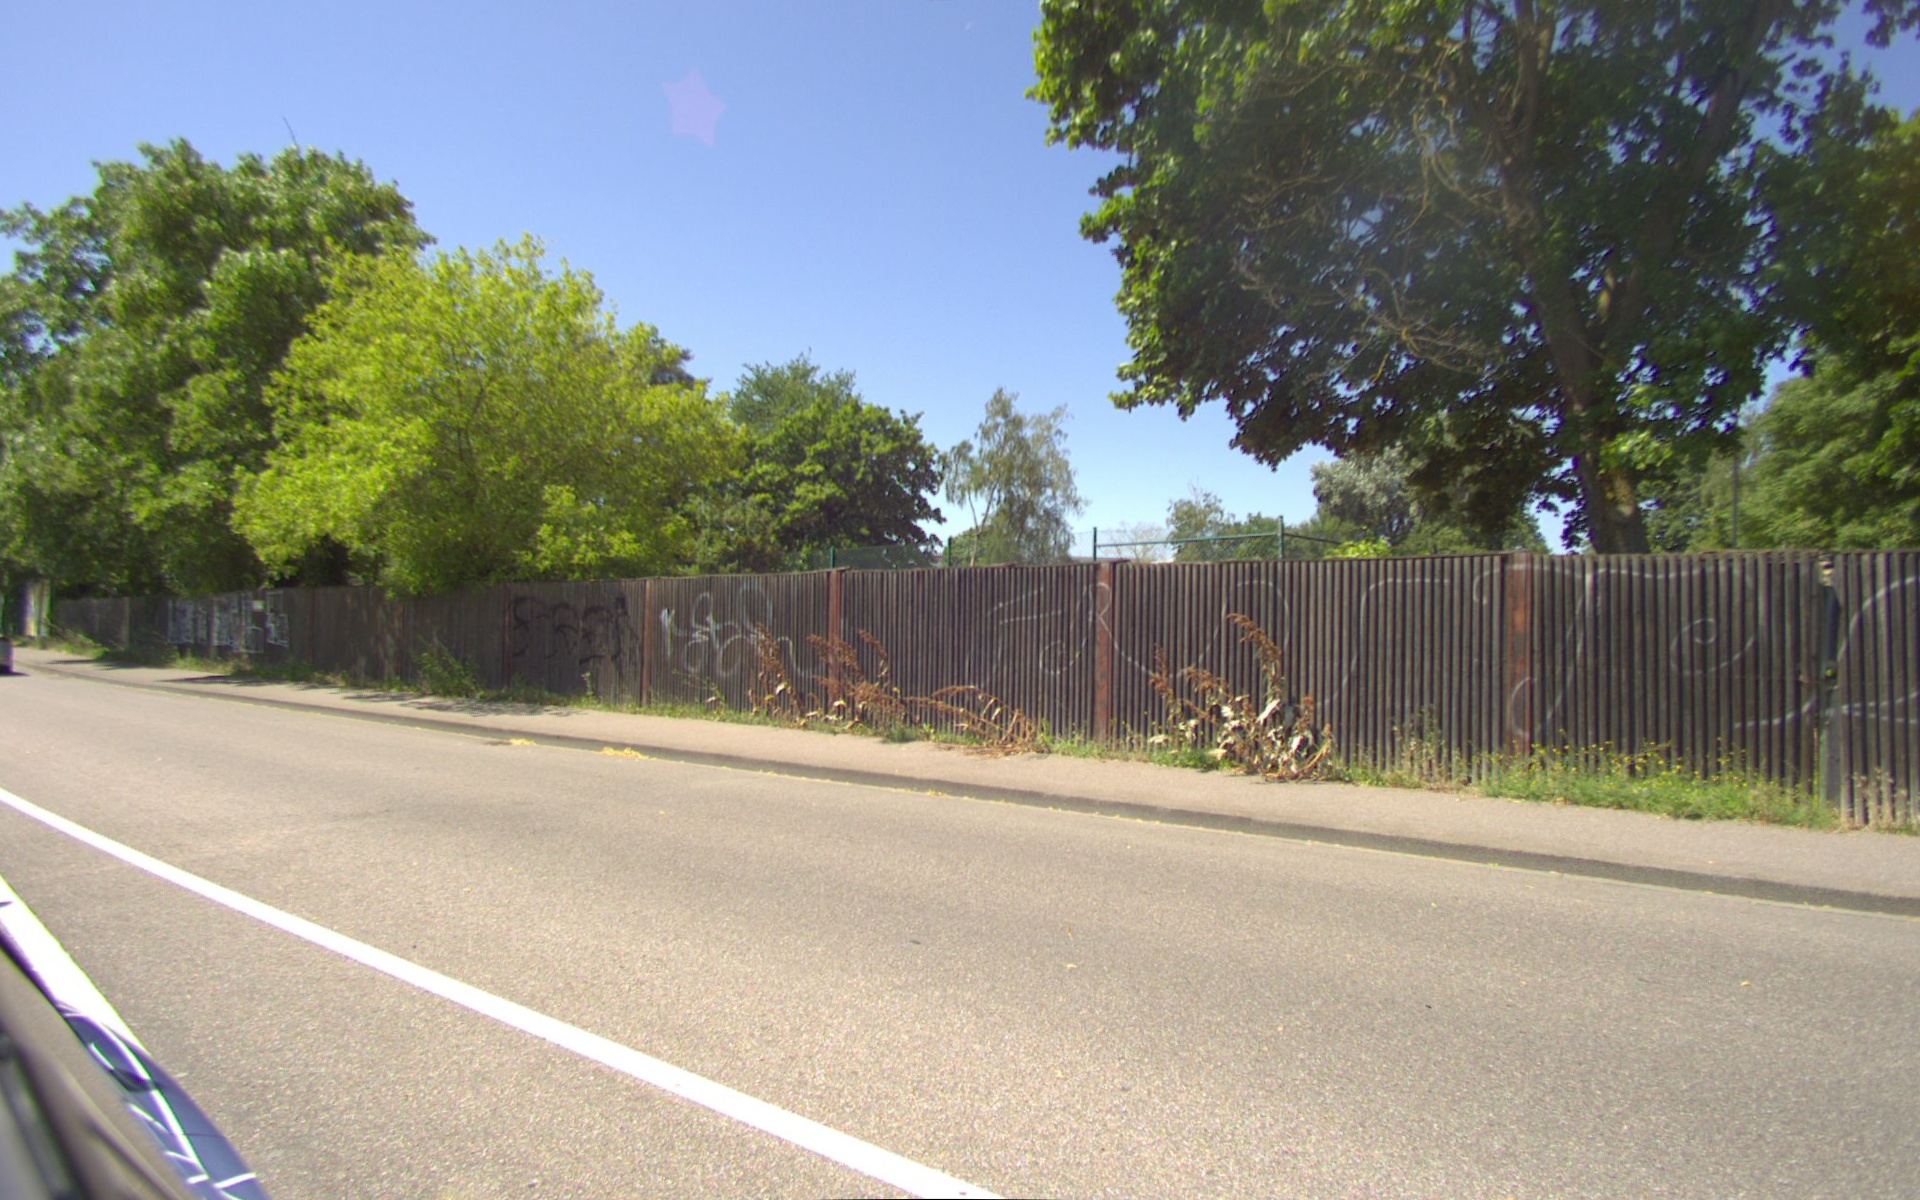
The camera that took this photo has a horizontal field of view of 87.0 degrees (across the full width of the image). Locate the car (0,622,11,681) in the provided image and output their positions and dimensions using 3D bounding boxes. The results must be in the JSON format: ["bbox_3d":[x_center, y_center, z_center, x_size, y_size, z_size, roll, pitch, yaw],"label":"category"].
[{"bbox_3d":[-26.022,1.281,25.936,3.834,1.475,1.699,-1,-3,35],"label":"car"}]
